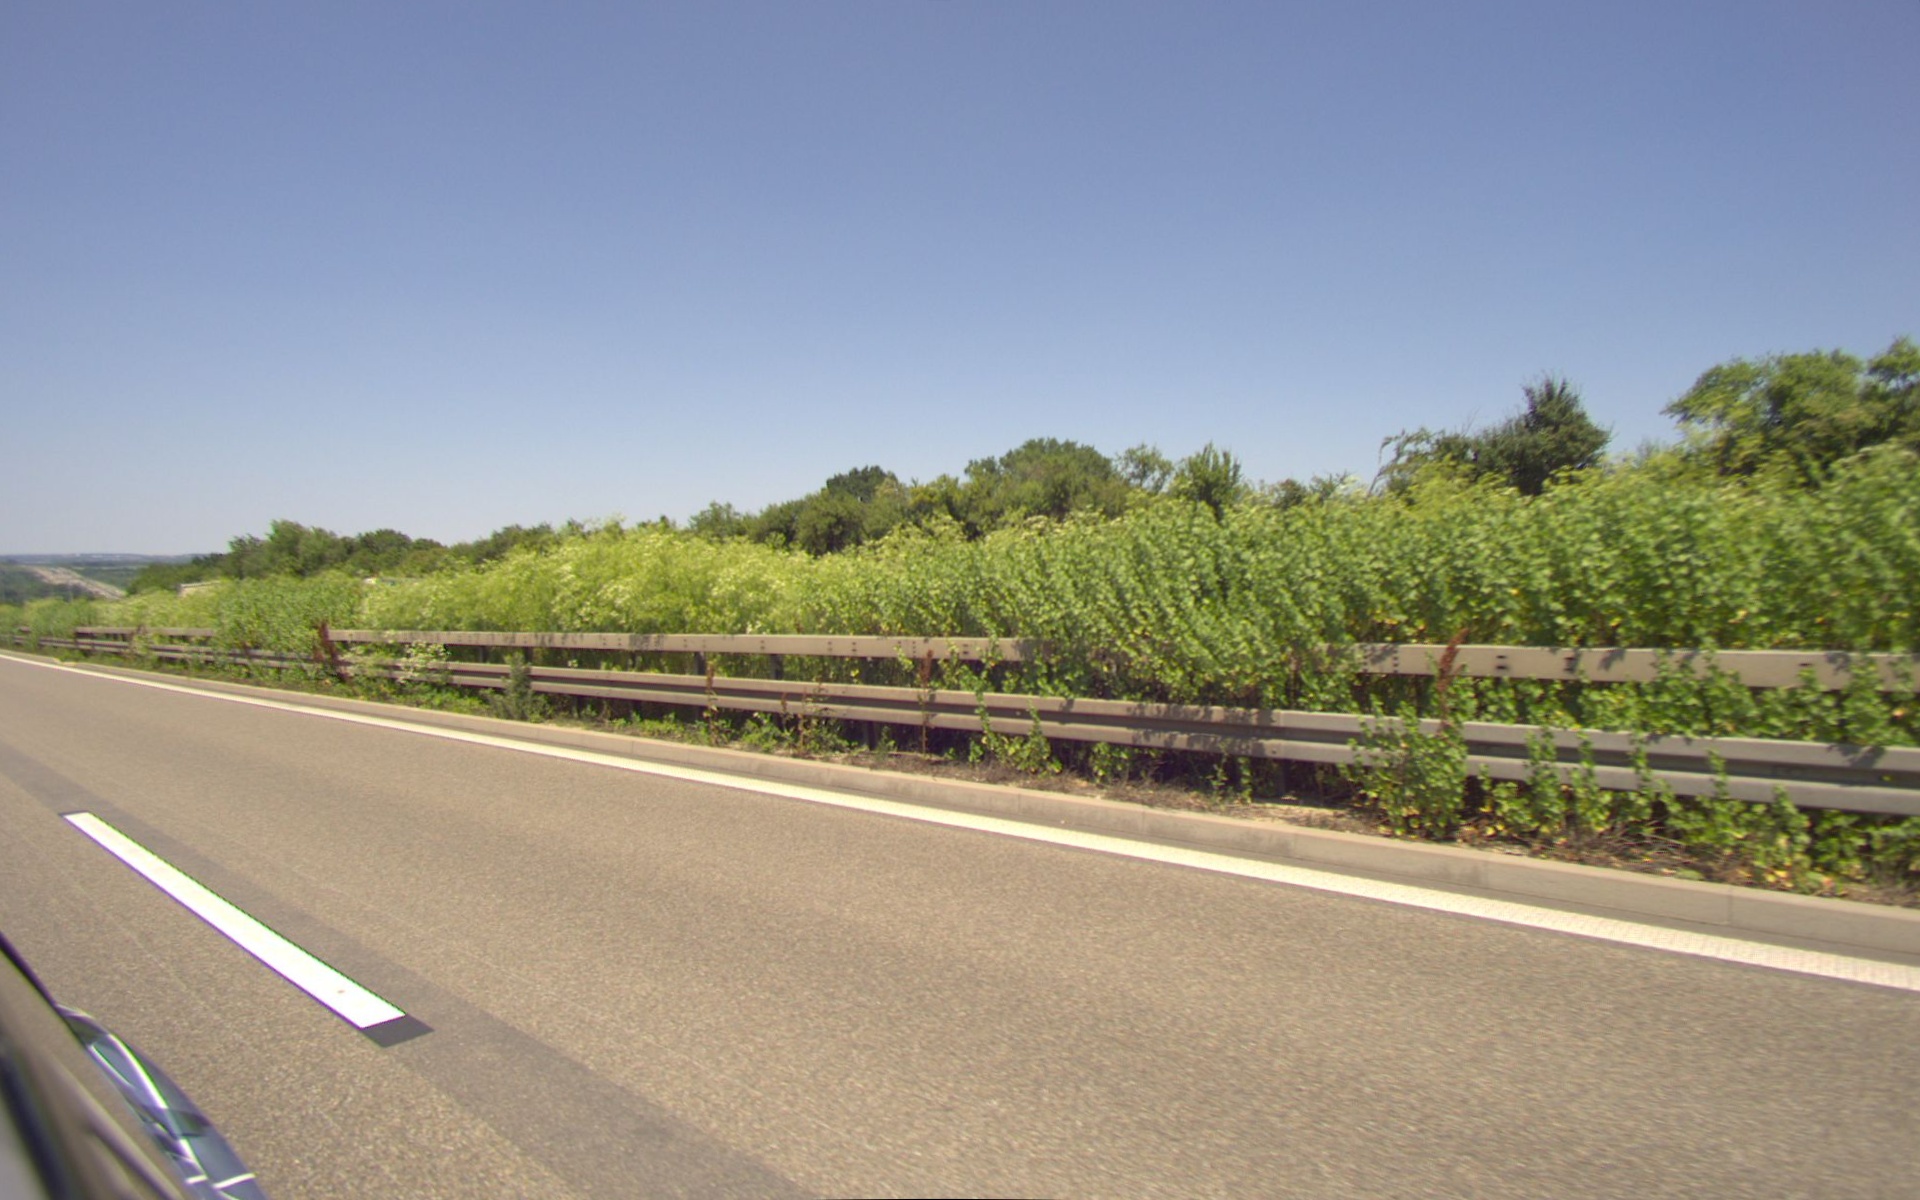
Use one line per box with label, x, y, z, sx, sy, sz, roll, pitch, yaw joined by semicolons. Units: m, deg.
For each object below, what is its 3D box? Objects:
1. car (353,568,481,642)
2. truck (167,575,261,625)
car;-26.890;0.299;49.848;8.795;3.378;2.763;-2;-1;42
truck;-59.089;0.103;79.868;17.033;3.545;2.645;-2;-1;42
